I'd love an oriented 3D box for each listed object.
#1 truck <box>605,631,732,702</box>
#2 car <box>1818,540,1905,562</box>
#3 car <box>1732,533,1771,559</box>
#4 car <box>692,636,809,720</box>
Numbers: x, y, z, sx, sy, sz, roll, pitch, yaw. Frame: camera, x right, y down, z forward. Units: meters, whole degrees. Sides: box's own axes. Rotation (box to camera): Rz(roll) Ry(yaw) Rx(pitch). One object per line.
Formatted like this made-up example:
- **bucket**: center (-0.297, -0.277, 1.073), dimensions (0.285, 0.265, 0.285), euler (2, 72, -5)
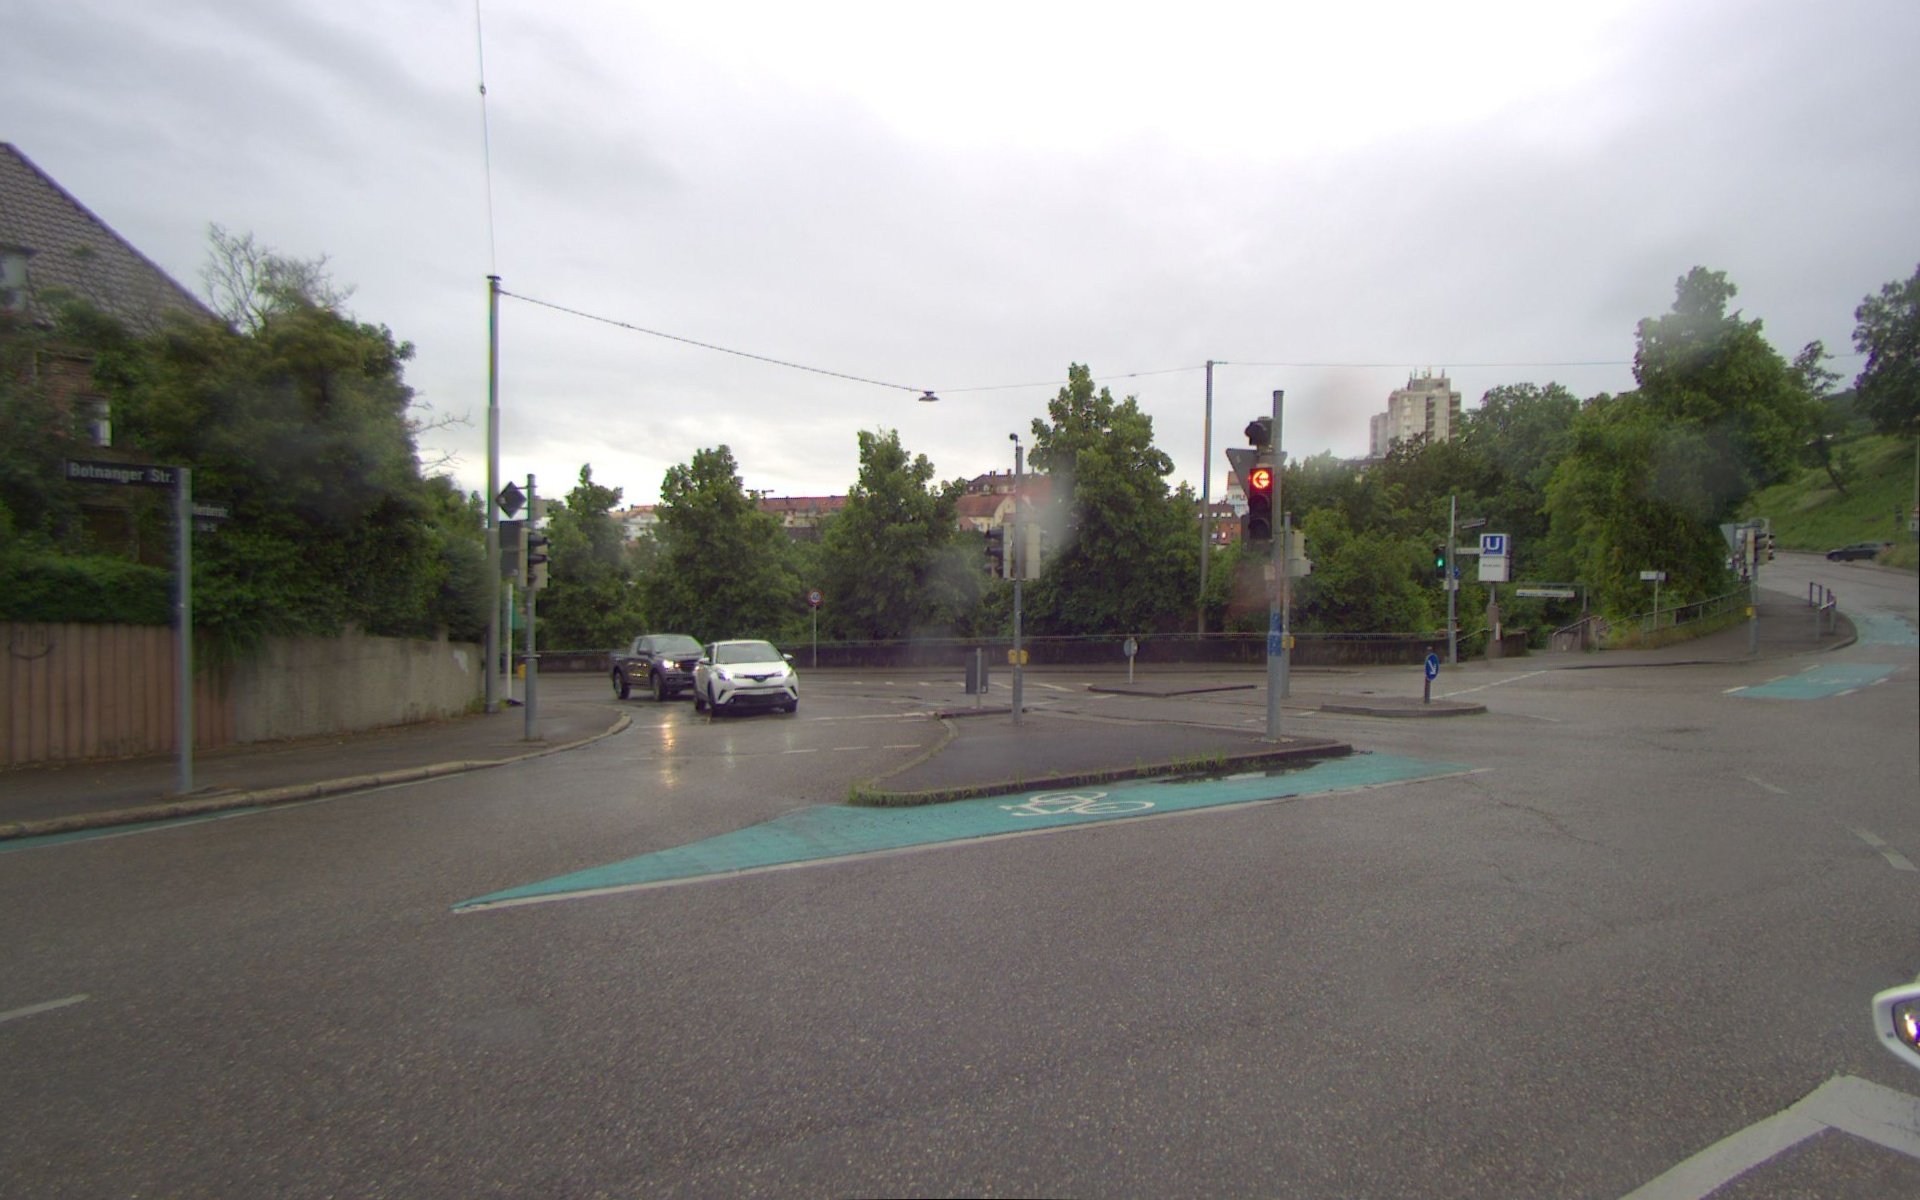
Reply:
- **truck**: center (-8.517, 1.927, 29.022), dimensions (1.890, 1.809, 4.940), euler (-2, -3, -36)
- **car**: center (66.612, -3.613, 74.309), dimensions (1.933, 1.532, 4.382), euler (-1, 2, -20)
- **car**: center (68.172, -4.600, 86.604), dimensions (2.036, 2.033, 4.803), euler (1, 1, 31)
- **car**: center (-4.589, 1.633, 21.621), dimensions (1.810, 1.527, 3.866), euler (-2, -2, -21)
